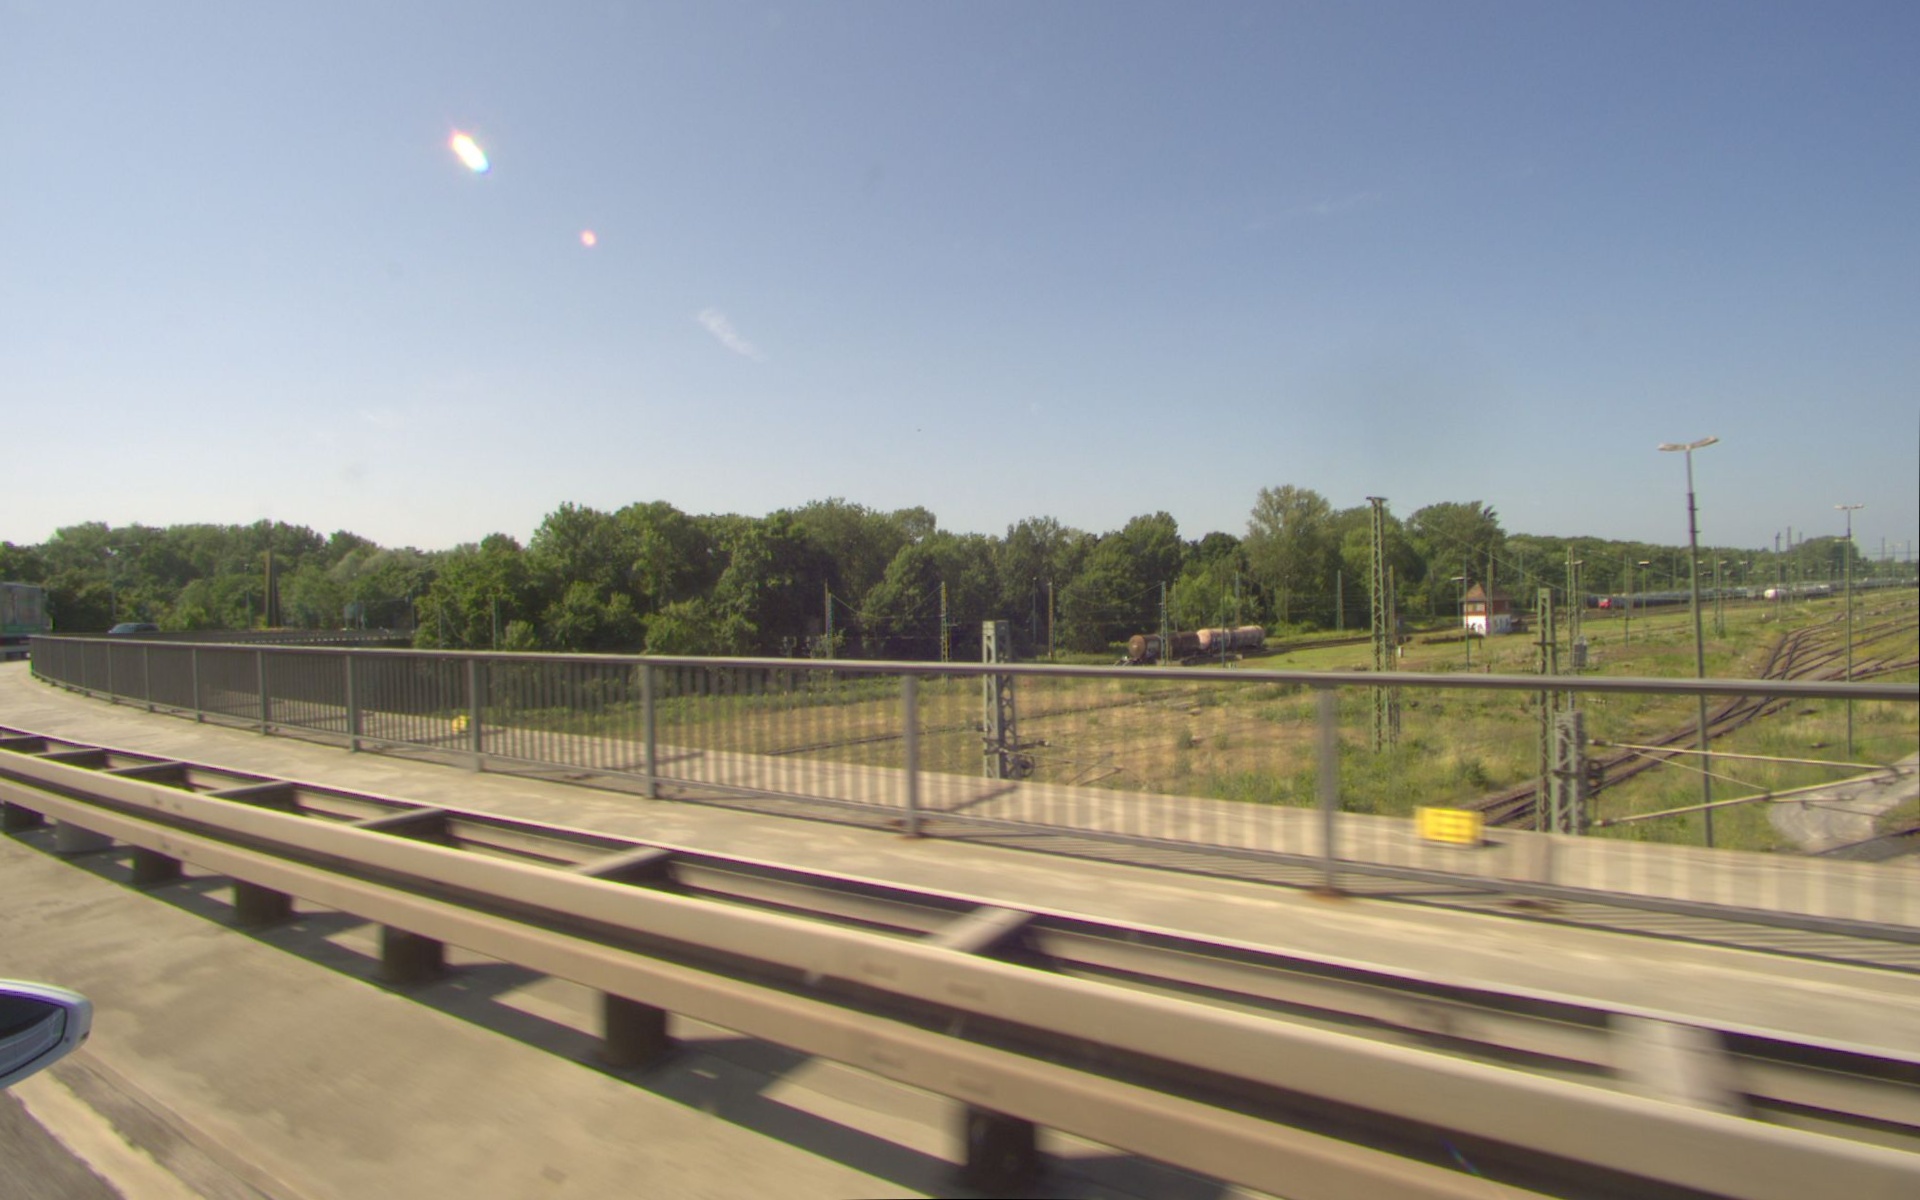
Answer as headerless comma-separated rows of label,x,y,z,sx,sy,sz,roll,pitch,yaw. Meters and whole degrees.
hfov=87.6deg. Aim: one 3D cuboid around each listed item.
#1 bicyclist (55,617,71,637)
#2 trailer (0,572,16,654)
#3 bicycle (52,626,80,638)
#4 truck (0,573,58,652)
bicyclist,-67.931,2.046,75.833,0.652,1.516,1.012,1,1,-23
trailer,-45.061,0.532,44.270,3.191,3.806,7.778,2,-1,-32
bicycle,-67.860,2.443,76.017,0.916,0.902,1.962,0,-1,-21
truck,-49.183,0.573,51.004,3.227,3.806,8.321,2,-1,-32
